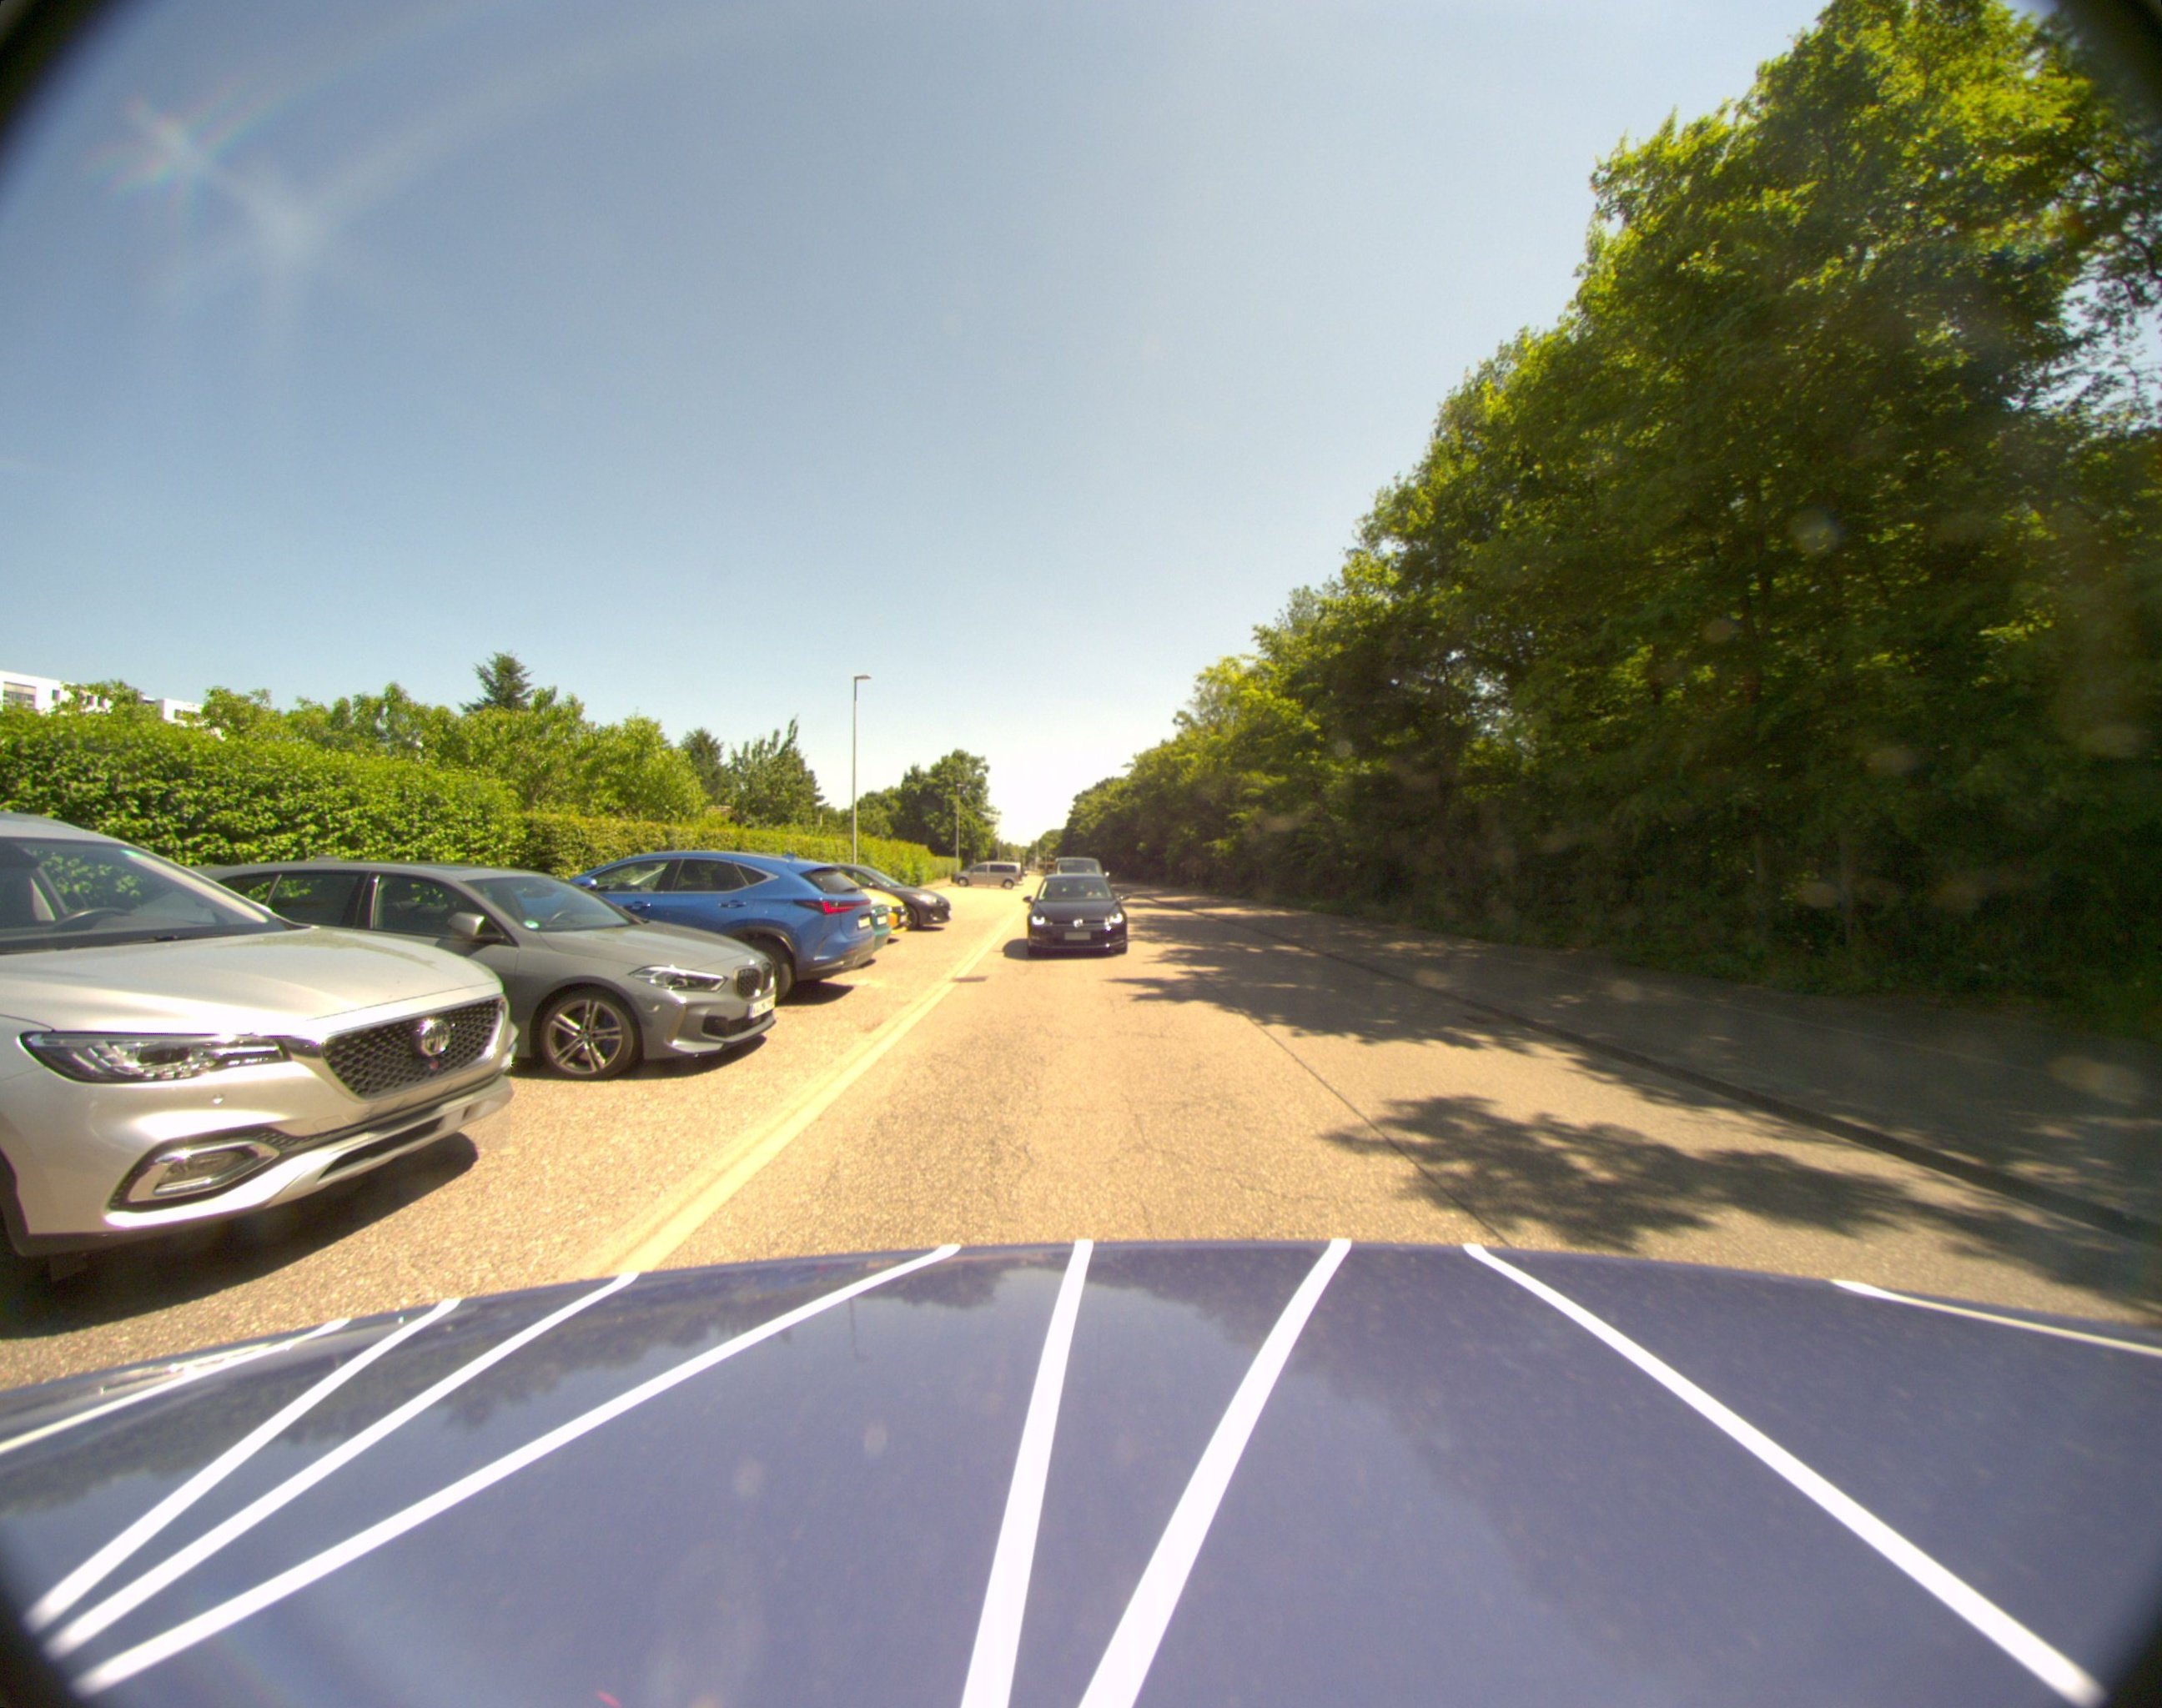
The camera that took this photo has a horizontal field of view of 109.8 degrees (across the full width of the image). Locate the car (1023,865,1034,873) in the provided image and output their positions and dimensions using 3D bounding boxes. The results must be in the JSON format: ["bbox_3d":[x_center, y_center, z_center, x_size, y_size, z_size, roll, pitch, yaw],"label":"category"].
[{"bbox_3d":[-8.927,2.578,129.525,1.744,1.396,4.387,1,-1,-4],"label":"car"}]

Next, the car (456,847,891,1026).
[{"bbox_3d":[-4.462,0.867,8.760,4.036,1.632,1.674,3,0,0],"label":"car"}]

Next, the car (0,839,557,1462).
[{"bbox_3d":[-4.799,0.774,2.954,4.170,1.632,1.776,3,0,-2],"label":"car"}]

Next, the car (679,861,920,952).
[{"bbox_3d":[-5.386,0.980,14.908,4.036,1.438,1.649,3,0,0],"label":"car"}]

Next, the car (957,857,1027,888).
[{"bbox_3d":[-5.990,1.242,51.440,4.493,1.840,1.695,3,-1,-4],"label":"car"}]

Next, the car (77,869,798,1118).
[{"bbox_3d":[-4.553,0.941,5.855,4.036,1.401,1.680,3,0,-1],"label":"car"}]

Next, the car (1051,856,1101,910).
[{"bbox_3d":[-0.197,1.068,29.262,1.743,1.904,4.388,0,-1,0],"label":"car"}]

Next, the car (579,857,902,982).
[{"bbox_3d":[-4.942,0.923,11.418,4.036,1.505,1.649,3,0,0],"label":"car"}]

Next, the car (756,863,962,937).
[{"bbox_3d":[-5.102,1.040,17.817,4.251,1.409,1.649,3,0,0],"label":"car"}]

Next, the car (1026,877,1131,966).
[{"bbox_3d":[-0.059,1.201,14.877,1.743,1.396,4.388,0,-1,0],"label":"car"}]
